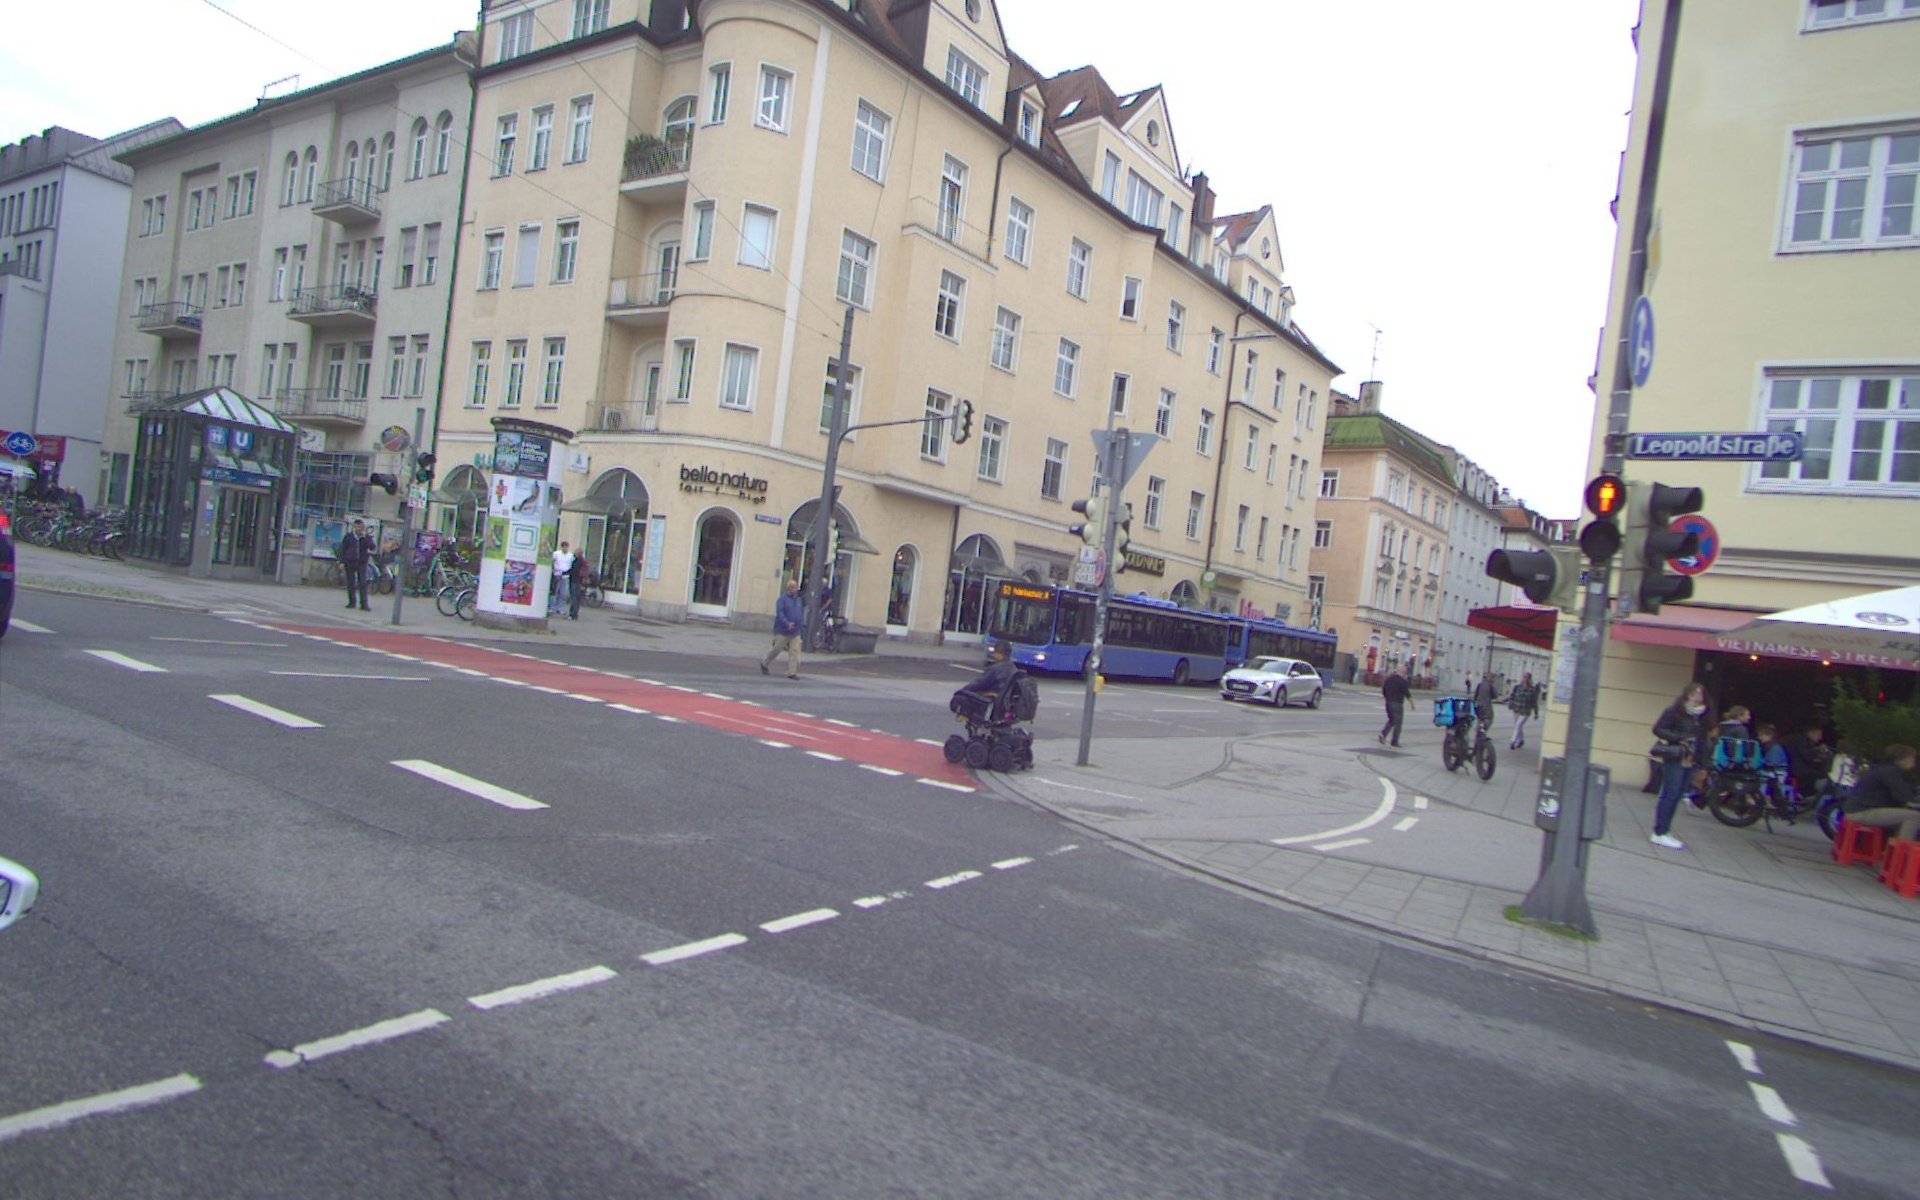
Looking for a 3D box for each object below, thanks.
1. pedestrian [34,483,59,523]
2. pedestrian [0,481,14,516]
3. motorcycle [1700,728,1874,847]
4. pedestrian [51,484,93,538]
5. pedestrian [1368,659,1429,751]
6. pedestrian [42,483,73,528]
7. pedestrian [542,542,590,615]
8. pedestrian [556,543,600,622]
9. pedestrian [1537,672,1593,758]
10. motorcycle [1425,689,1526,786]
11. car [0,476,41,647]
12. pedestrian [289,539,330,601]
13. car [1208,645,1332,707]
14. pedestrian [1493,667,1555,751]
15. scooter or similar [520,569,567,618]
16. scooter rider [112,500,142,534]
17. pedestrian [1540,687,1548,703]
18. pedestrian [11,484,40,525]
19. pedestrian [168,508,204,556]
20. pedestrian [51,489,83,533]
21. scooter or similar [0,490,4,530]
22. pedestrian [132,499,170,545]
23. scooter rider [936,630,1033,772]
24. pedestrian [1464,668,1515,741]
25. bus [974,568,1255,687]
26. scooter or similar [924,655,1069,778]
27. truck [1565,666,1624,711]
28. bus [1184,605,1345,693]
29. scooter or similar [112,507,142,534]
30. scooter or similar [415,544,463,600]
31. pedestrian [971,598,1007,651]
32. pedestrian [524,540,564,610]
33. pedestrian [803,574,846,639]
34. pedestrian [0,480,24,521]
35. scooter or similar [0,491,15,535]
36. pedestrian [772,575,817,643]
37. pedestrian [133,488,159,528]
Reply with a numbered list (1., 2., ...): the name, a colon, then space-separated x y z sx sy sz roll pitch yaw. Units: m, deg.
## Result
1. pedestrian: -37.001 -3.923 40.742 0.501 1.502 0.462 6 1 -23
2. pedestrian: -47.073 -5.014 49.346 0.729 1.622 0.733 7 1 32
3. motorcycle: 10.463 2.351 12.797 1.545 1.170 0.487 7 0 32
4. pedestrian: -30.889 -3.085 35.004 0.746 1.750 0.813 8 2 32
5. pedestrian: 8.314 1.975 19.083 0.756 1.605 0.758 7 1 36
6. pedestrian: -36.053 -3.778 40.197 0.594 1.690 0.682 6 1 -23
7. pedestrian: -9.975 -0.548 25.462 0.720 1.727 0.645 9 3 2
8. pedestrian: -9.217 -0.424 24.239 0.645 1.774 0.630 7 4 -36
9. pedestrian: 12.921 2.441 21.479 0.694 1.704 0.849 7 1 42
10. motorcycle: 7.821 2.050 15.348 0.532 1.214 1.767 7 0 2
11. car: -10.918 -0.588 9.972 3.497 1.609 1.705 7 0 32
12. pedestrian: -18.905 -0.866 29.239 0.710 1.692 0.657 8 2 33
13. car: 9.350 2.304 30.200 1.869 1.439 3.979 7 0 43
14. pedestrian: 12.505 2.410 22.310 0.827 1.704 1.034 7 1 42
15. scooter or similar: -9.856 -0.144 23.824 0.815 1.007 0.587 8 3 -36
16. scooter rider: -33.645 -3.347 40.629 0.707 1.235 0.686 7 2 30
17. pedestrian: 57.476 9.310 99.027 0.404 1.529 0.448 7 1 39
18. pedestrian: -37.022 -3.759 39.848 0.574 1.523 0.612 7 0 -27
19. pedestrian: -29.238 -2.566 37.991 0.745 1.672 0.751 8 2 30
20. pedestrian: -37.997 -3.781 42.787 0.746 1.750 0.742 8 2 32
21. scooter or similar: -26.501 -2.424 27.298 0.360 1.190 1.337 6 1 -28
22. pedestrian: -29.535 -2.849 36.724 0.745 1.537 0.778 8 2 30
23. scooter rider: 0.272 1.072 10.885 0.632 1.406 0.702 7 1 30
24. pedestrian: 12.816 2.526 24.363 0.757 1.663 0.757 7 1 42
25. bus: 6.098 1.236 36.052 2.776 3.004 13.538 9 1 42
26. scooter or similar: 0.398 1.227 10.852 1.235 1.088 0.776 7 0 30
27. truck: 67.835 9.593 107.250 2.869 3.962 18.830 7 -1 39
28. bus: 13.689 2.285 44.595 2.776 3.004 9.538 9 1 42
29. scooter or similar: -33.634 -3.207 40.616 1.106 0.956 0.535 7 2 30
30. scooter or similar: -12.965 -0.701 25.030 1.133 1.242 0.288 7 1 23
31. pedestrian: 1.013 0.872 35.576 0.736 1.707 0.722 12 4 41
32. pedestrian: -10.315 -0.620 24.963 0.559 1.630 0.560 6 4 -45
33. pedestrian: -3.899 0.180 28.998 0.736 1.727 0.679 12 4 41
34. pedestrian: -38.022 -3.978 40.059 0.801 1.541 0.795 6 1 -25
35. scooter or similar: -26.104 -2.367 27.271 0.298 1.190 1.268 6 1 -28
36. pedestrian: -4.492 0.243 27.276 0.736 1.707 0.679 12 4 41
37. pedestrian: -36.165 -4.066 44.705 0.553 1.665 0.641 7 1 32
